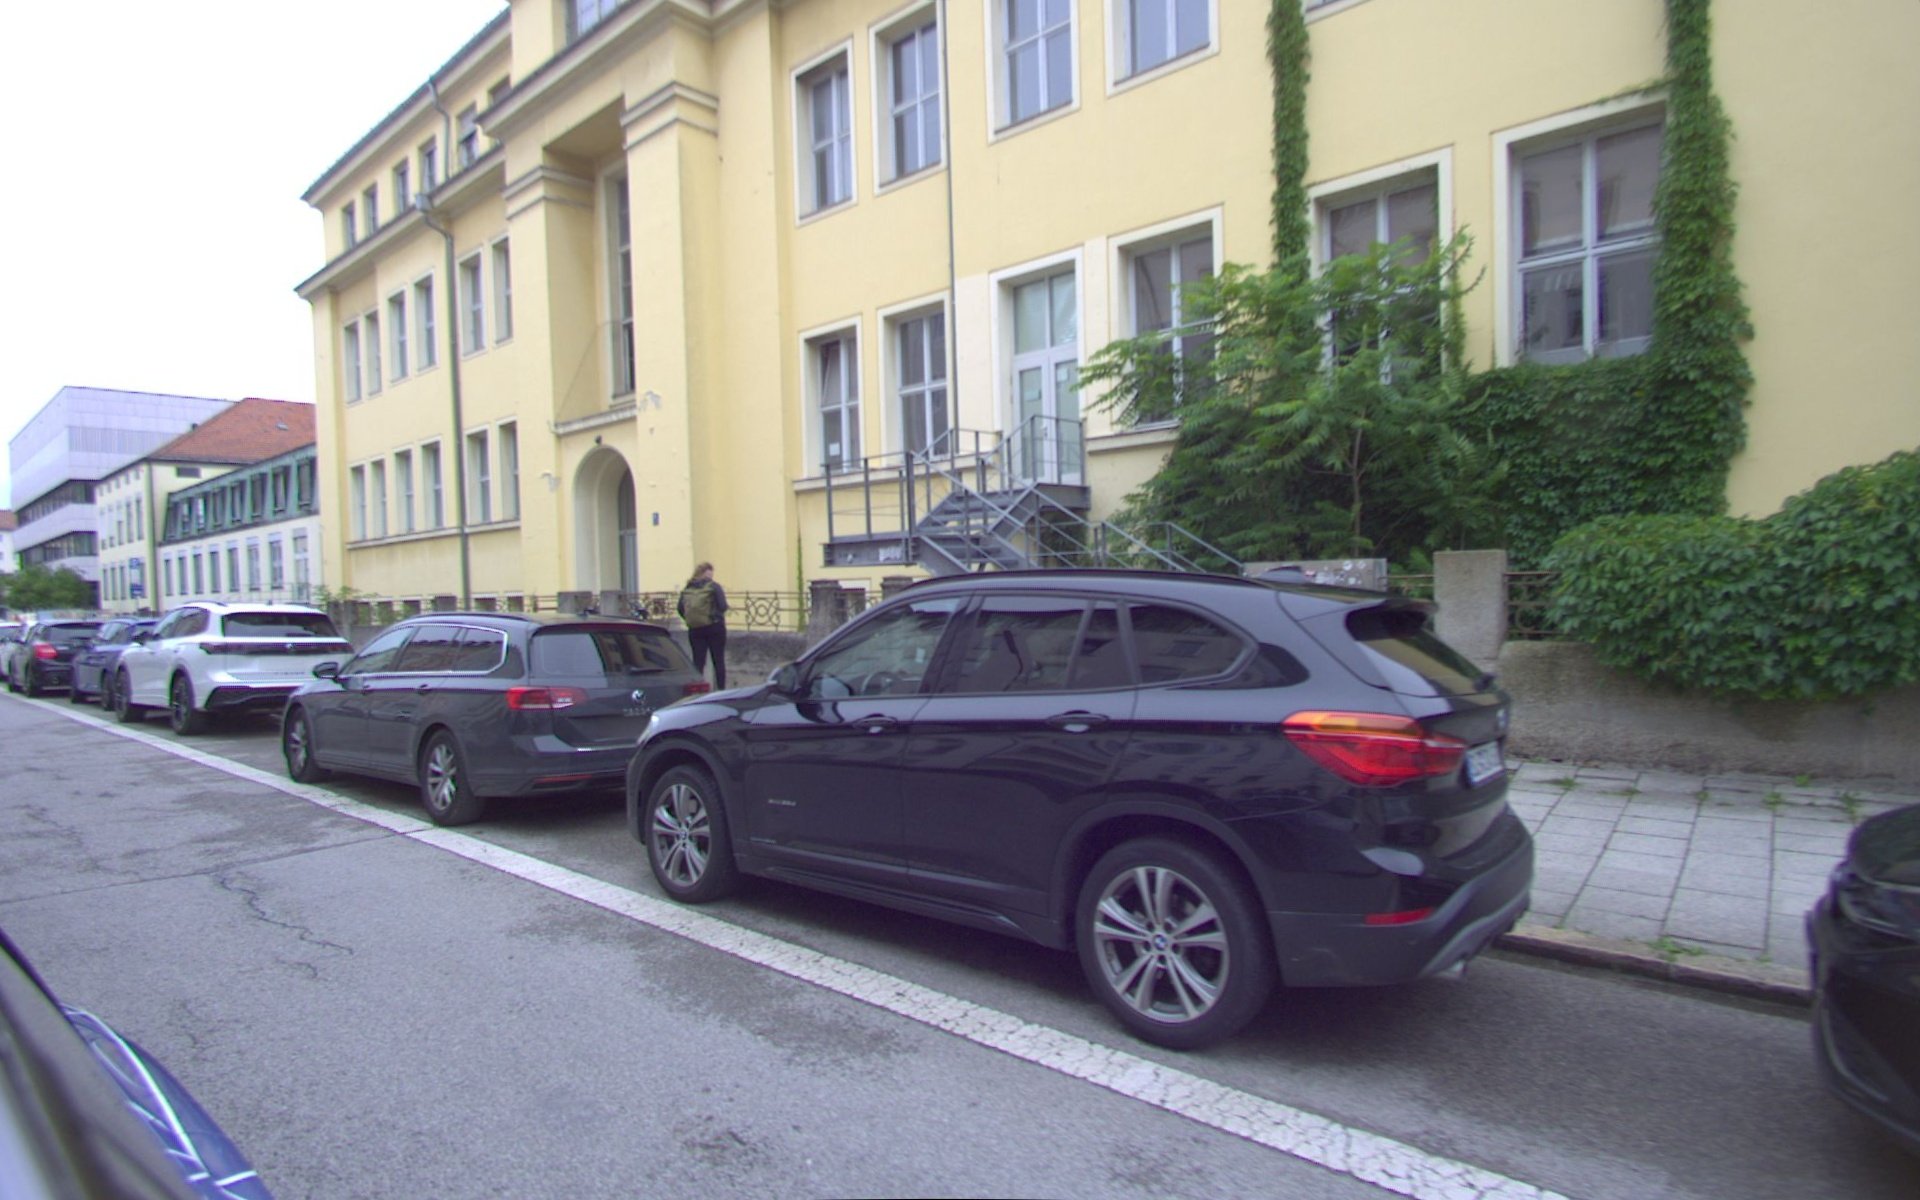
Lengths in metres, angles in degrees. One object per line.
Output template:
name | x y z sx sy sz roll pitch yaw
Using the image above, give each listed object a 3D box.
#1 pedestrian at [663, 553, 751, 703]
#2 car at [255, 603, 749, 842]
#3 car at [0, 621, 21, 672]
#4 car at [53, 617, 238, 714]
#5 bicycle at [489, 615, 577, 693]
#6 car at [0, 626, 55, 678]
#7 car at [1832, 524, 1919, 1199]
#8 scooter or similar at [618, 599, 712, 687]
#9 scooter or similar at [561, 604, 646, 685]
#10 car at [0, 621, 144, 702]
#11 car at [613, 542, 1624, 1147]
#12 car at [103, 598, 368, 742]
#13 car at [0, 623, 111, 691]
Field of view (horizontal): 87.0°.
pedestrian | -3.251 0.340 13.000 0.782 1.838 0.766 -1 0 44
car | -3.886 0.809 8.192 4.596 1.419 1.755 -1 -3 39
car | -31.585 1.466 32.419 4.208 1.566 1.751 -1 -2 41
car | -13.807 1.051 17.089 3.912 1.457 1.591 -1 -3 38
bicycle | -6.990 0.857 16.543 1.765 1.197 0.577 -1 1 42
car | -27.212 1.445 28.730 4.018 1.408 1.793 -1 -2 41
car | 4.021 0.597 1.352 4.215 1.492 1.700 -1 -3 39
scooter or similar | -4.106 0.594 14.029 1.444 1.144 0.526 -2 0 42
scooter or similar | -5.350 0.662 15.156 1.444 1.144 0.526 -3 0 42
car | -17.723 1.166 20.108 3.777 1.450 1.716 -1 -2 41
car | 0.362 0.664 4.611 4.270 1.514 1.751 -1 -2 40
car | -9.864 0.870 13.672 4.294 1.653 1.764 -1 -3 38
car | -21.490 1.274 23.827 4.110 1.457 1.668 -1 -2 41
